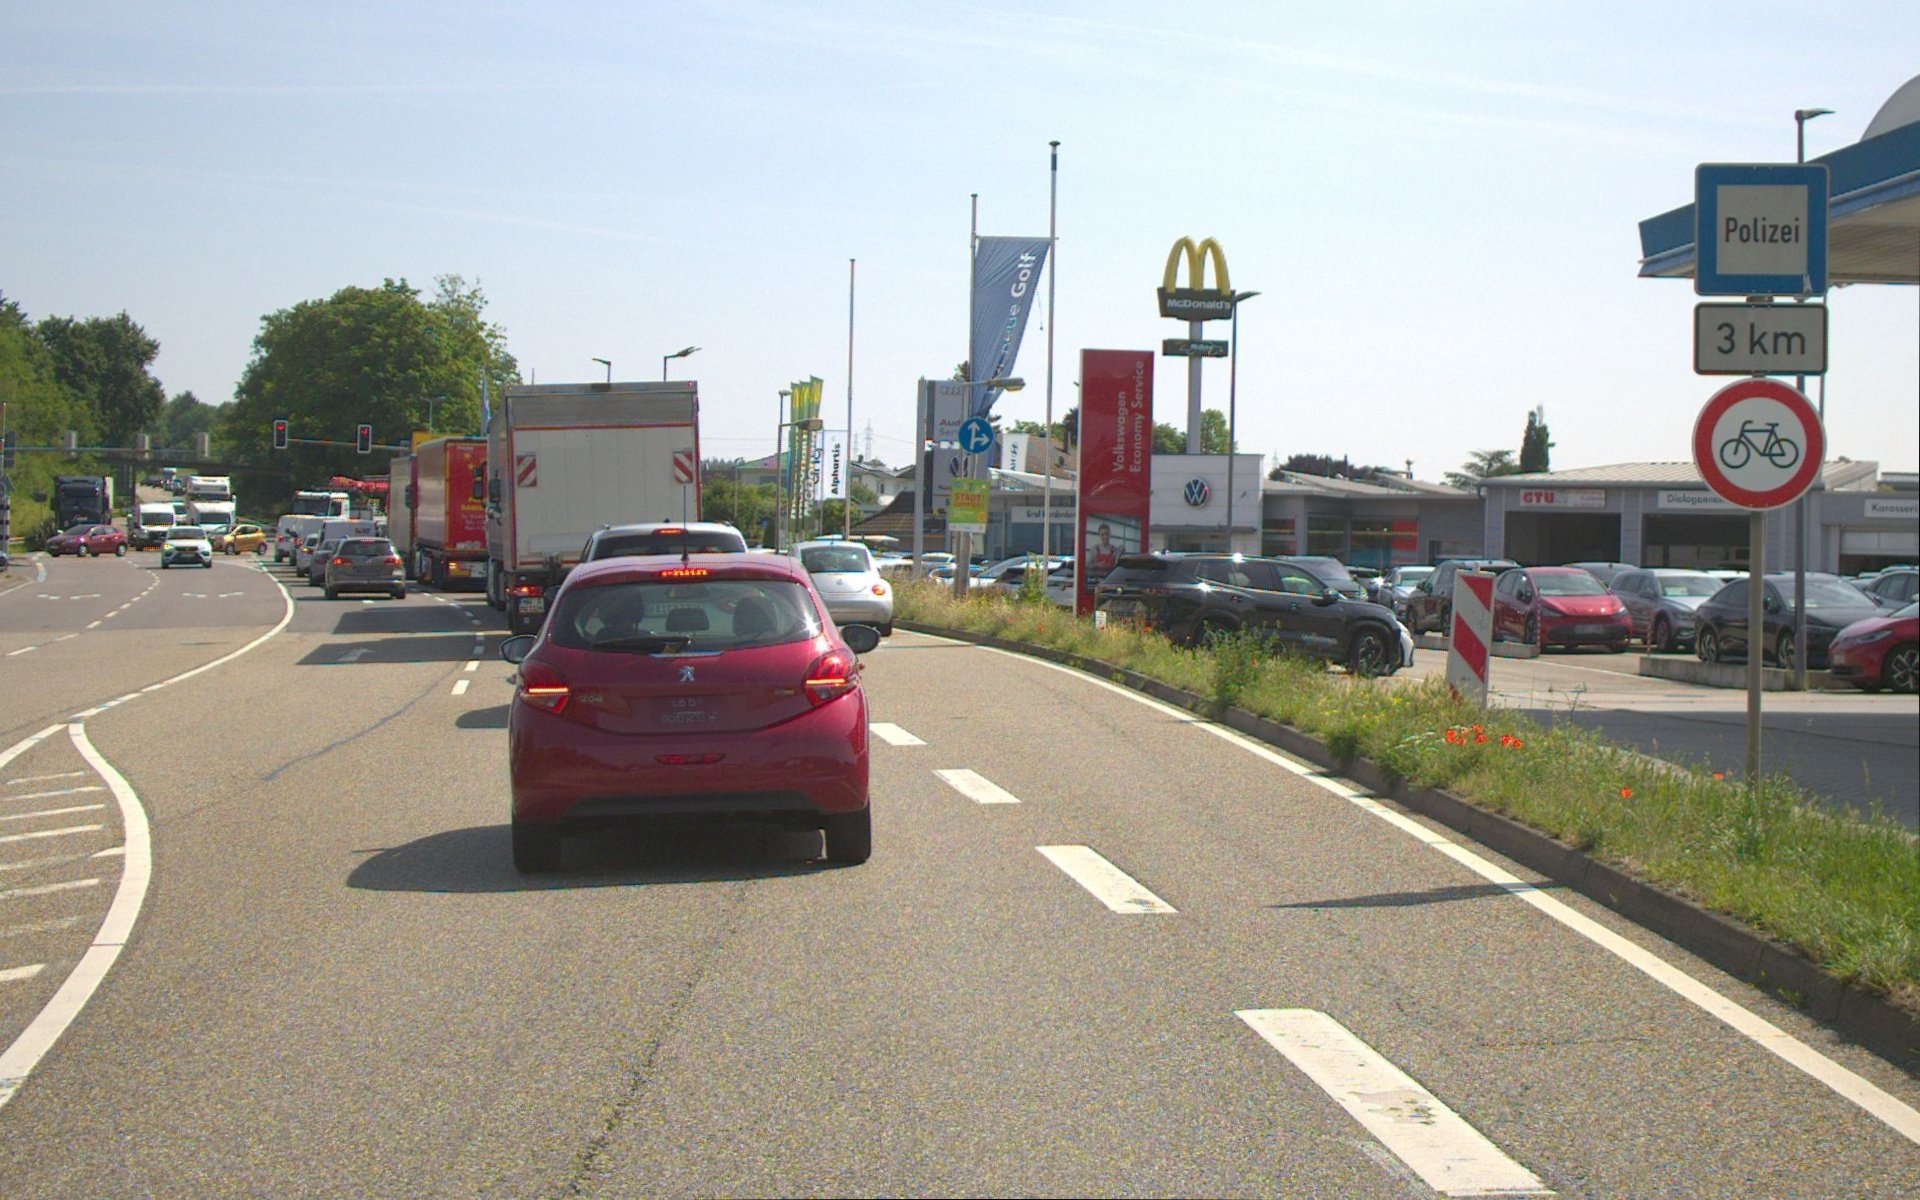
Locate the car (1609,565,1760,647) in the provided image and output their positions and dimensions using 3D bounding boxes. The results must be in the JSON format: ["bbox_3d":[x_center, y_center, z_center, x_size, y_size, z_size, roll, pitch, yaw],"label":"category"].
[{"bbox_3d":[13.415,0.088,63.857,1.558,1.404,3.597,-1,1,-9],"label":"car"}]

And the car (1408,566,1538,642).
[{"bbox_3d":[10.154,0.065,68.263,1.558,1.404,3.597,-1,1,-9],"label":"car"}]

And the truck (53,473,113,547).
[{"bbox_3d":[-46.251,-4.738,181.176,2.812,3.773,6.992,-1,2,-16],"label":"truck"}]

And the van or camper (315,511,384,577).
[{"bbox_3d":[-18.107,-1.679,101.819,1.852,1.899,3.786,1,1,-12],"label":"van or camper"}]

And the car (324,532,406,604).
[{"bbox_3d":[-13.971,-0.765,80.869,1.790,1.633,3.505,0,1,-8],"label":"car"}]

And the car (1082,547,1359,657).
[{"bbox_3d":[3.630,0.003,47.778,3.584,1.404,1.563,-2,1,-32],"label":"car"}]

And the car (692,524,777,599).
[{"bbox_3d":[-5.446,-0.938,83.437,1.993,1.744,4.001,1,1,-3],"label":"car"}]

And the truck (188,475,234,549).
[{"bbox_3d":[-44.704,-5.270,205.273,2.552,4.292,7.598,-1,2,-12],"label":"truck"}]

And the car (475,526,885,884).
[{"bbox_3d":[-1.422,0.432,17.270,1.800,1.566,3.714,-1,1,-5],"label":"car"}]

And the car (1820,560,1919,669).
[{"bbox_3d":[14.914,0.194,53.562,1.558,1.589,3.862,-1,1,-9],"label":"car"}]

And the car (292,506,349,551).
[{"bbox_3d":[-22.186,-2.473,119.372,1.726,1.514,3.313,1,1,-7],"label":"car"}]

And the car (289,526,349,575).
[{"bbox_3d":[-20.295,-1.566,108.739,1.726,1.514,3.313,1,1,-13],"label":"car"}]

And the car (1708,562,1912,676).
[{"bbox_3d":[12.801,0.255,52.000,1.613,1.589,3.862,-1,1,-9],"label":"car"}]

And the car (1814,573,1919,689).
[{"bbox_3d":[14.122,0.423,47.949,3.903,1.566,1.807,0,1,-4],"label":"car"}]

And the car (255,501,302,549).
[{"bbox_3d":[-28.000,-3.063,141.330,1.726,1.902,3.313,1,1,-8],"label":"car"}]

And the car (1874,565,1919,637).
[{"bbox_3d":[19.960,0.018,69.441,1.558,1.404,3.597,-1,1,-9],"label":"car"}]

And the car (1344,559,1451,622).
[{"bbox_3d":[10.293,-0.246,81.081,1.558,1.404,3.597,-1,1,-9],"label":"car"}]

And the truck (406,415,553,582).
[{"bbox_3d":[-13.620,-2.812,96.223,2.956,4.255,16.589,1,1,-12],"label":"truck"}]

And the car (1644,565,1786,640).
[{"bbox_3d":[15.139,0.026,69.093,1.558,1.404,3.690,-1,1,-9],"label":"car"}]

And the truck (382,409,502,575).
[{"bbox_3d":[-17.714,-3.612,116.631,3.061,5.202,17.013,1,1,-12],"label":"truck"}]

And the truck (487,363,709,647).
[{"bbox_3d":[-5.605,-1.395,51.627,2.878,3.798,11.145,0,1,-8],"label":"truck"}]

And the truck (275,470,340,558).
[{"bbox_3d":[-32.334,-4.288,170.677,2.955,4.194,10.650,-2,2,-10],"label":"truck"}]

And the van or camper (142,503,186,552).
[{"bbox_3d":[-41.589,-3.799,179.699,2.172,2.542,4.172,1,1,-12],"label":"van or camper"}]

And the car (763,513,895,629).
[{"bbox_3d":[-2.108,-0.459,54.502,1.993,1.744,4.001,1,1,-3],"label":"car"}]

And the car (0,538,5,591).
[{"bbox_3d":[-30.143,-1.051,101.186,3.815,1.534,1.843,0,1,-12],"label":"car"}]

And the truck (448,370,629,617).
[{"bbox_3d":[-8.519,-2.021,67.736,2.889,4.251,16.714,0,1,-9],"label":"truck"}]

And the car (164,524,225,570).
[{"bbox_3d":[-29.057,-2.025,130.604,1.935,1.668,4.001,-2,1,-9],"label":"car"}]

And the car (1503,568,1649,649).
[{"bbox_3d":[11.347,0.136,63.567,1.558,1.404,3.597,-1,1,-9],"label":"car"}]

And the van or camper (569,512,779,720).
[{"bbox_3d":[-2.753,0.093,32.176,1.746,1.781,5.134,1,1,-7],"label":"van or camper"}]
